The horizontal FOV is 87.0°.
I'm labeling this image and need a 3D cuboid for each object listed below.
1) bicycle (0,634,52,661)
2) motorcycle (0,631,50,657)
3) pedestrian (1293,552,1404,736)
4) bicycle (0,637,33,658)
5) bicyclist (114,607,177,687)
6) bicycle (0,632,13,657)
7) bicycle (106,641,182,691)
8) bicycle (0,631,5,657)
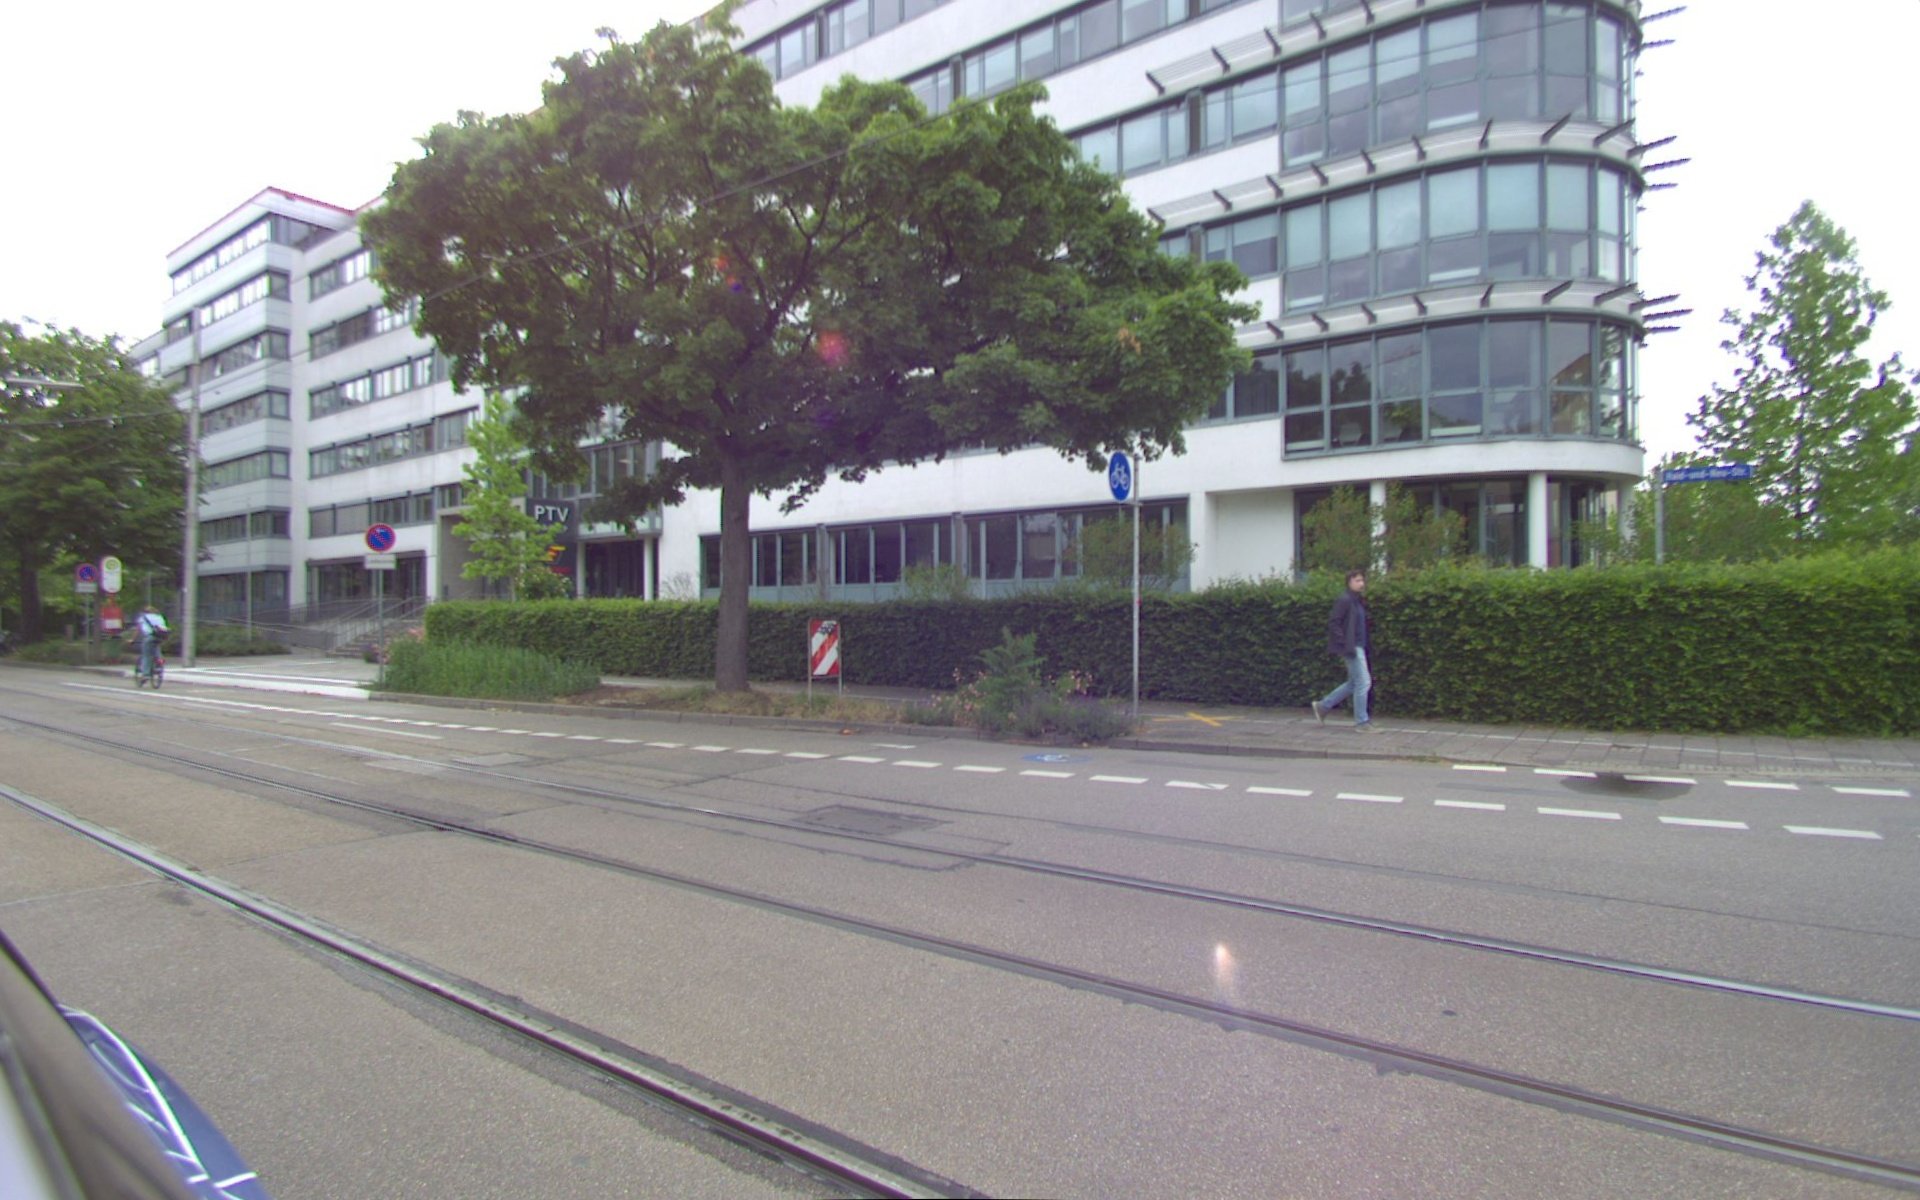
[{"bbox_3d":[-38.934,1.961,41.946,0.738,1.061,1.817,-1,-1,28],"label":"bicycle"},{"bbox_3d":[-40.459,1.895,43.594,0.730,1.058,1.776,-1,0,29],"label":"motorcycle"},{"bbox_3d":[4.519,0.487,11.783,0.991,2.029,0.702,-1,0,44],"label":"pedestrian"},{"bbox_3d":[-41.920,2.097,44.370,0.630,0.906,1.793,0,-2,30],"label":"bicycle"},{"bbox_3d":[-18.456,1.056,22.934,0.974,1.762,0.731,-1,-2,27],"label":"bicyclist"},{"bbox_3d":[-43.974,1.993,45.611,0.630,1.108,1.793,0,-2,30],"label":"bicycle"},{"bbox_3d":[-18.494,1.472,22.939,1.947,1.082,0.583,-1,-2,27],"label":"bicycle"},{"bbox_3d":[-44.945,1.995,46.247,0.632,1.195,1.845,-1,-2,41],"label":"bicycle"}]
